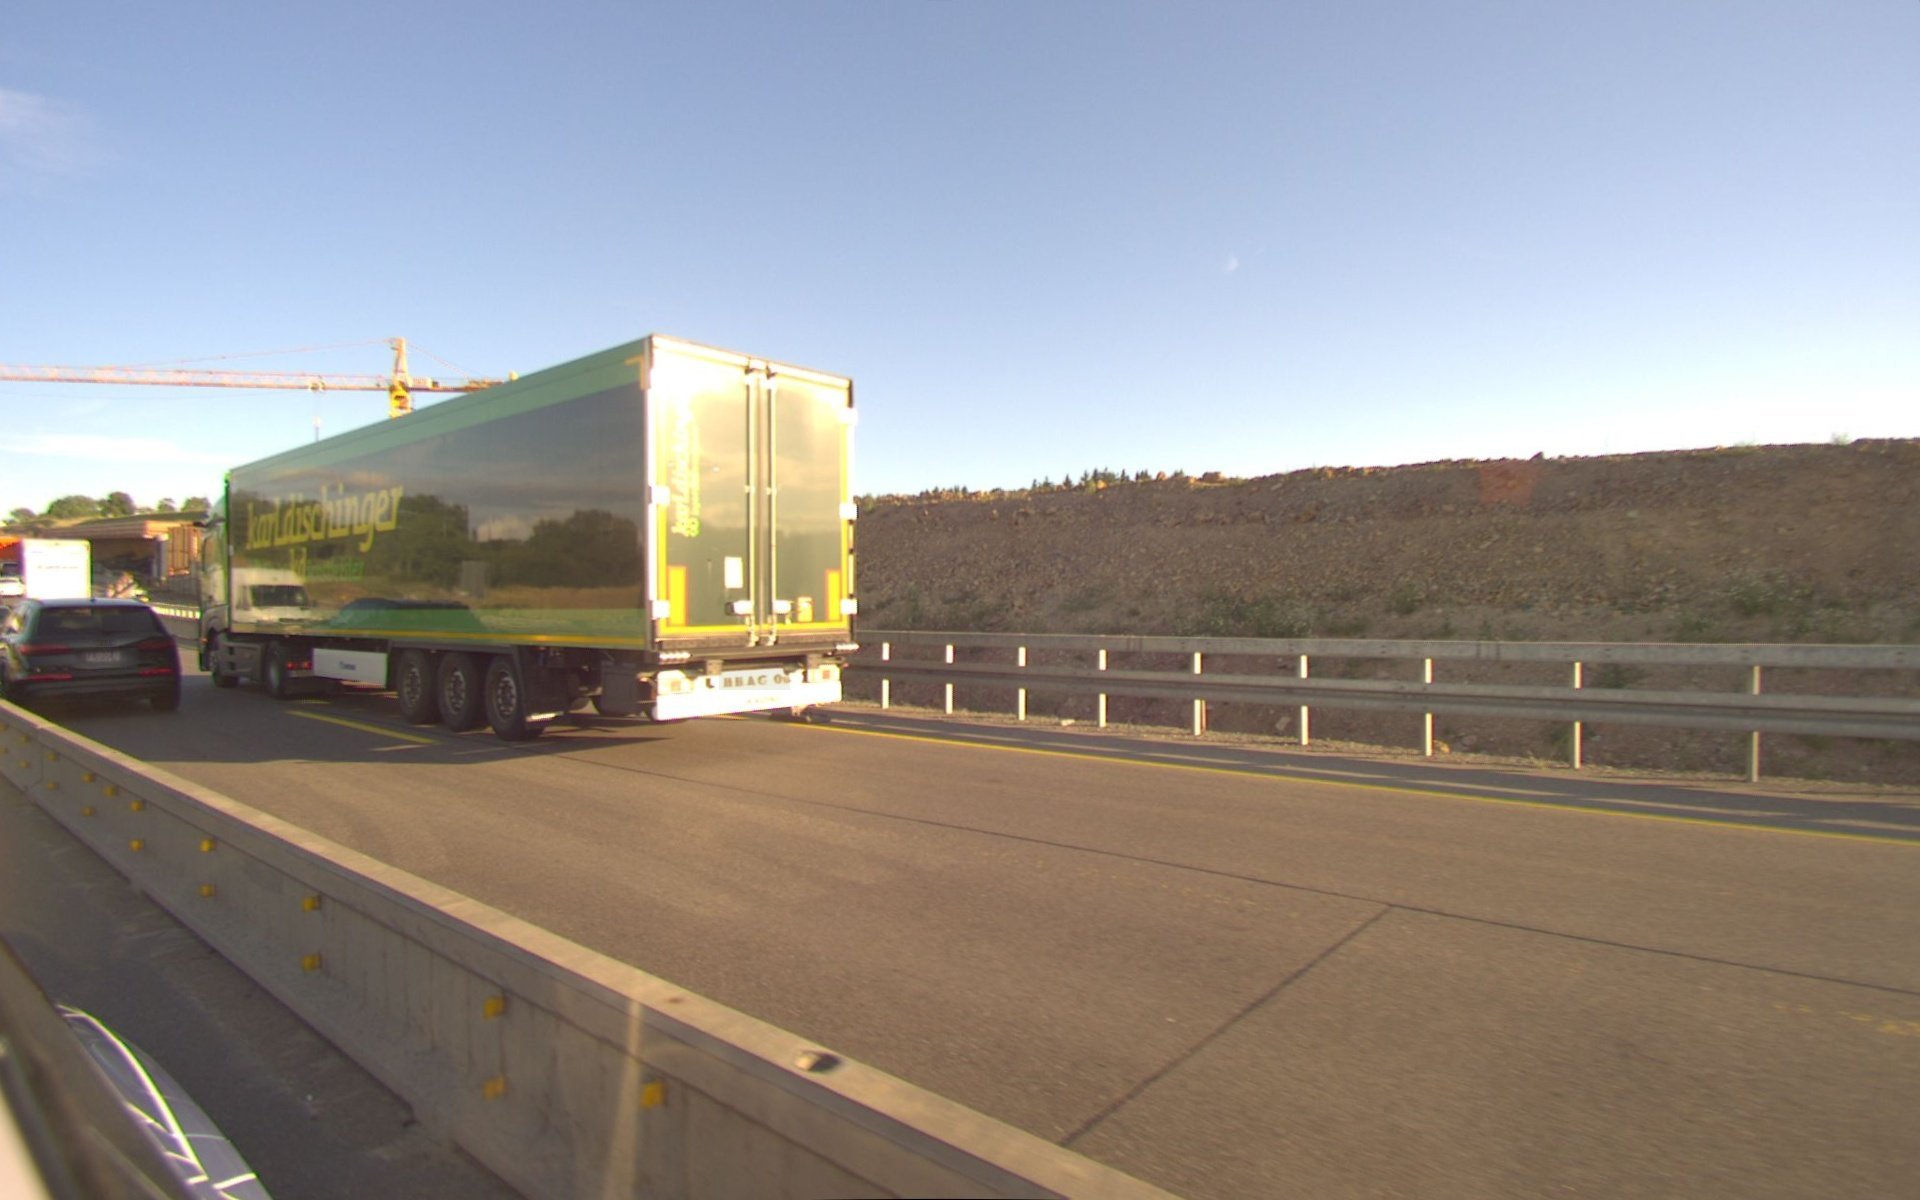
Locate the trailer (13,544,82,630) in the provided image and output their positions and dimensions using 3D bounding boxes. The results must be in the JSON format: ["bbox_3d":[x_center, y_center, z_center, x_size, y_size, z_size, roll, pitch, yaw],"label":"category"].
[{"bbox_3d":[-50.589,-0.792,55.955,2.501,4.245,13.948,-2,2,-43],"label":"trailer"}]

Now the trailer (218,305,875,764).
[{"bbox_3d":[-7.011,-0.492,14.459,13.673,4.062,2.745,-1,-1,41],"label":"trailer"}]

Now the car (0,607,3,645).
[{"bbox_3d":[-37.923,0.955,38.482,4.493,1.420,1.817,0,0,41],"label":"car"}]

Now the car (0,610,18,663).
[{"bbox_3d":[-28.682,1.048,29.378,4.328,1.420,1.697,0,0,43],"label":"car"}]

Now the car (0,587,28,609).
[{"bbox_3d":[-70.287,-0.171,74.966,1.768,1.499,4.223,0,1,-44],"label":"car"}]

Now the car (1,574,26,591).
[{"bbox_3d":[-100.427,-1.890,107.437,1.767,1.631,4.881,-1,3,-41],"label":"car"}]

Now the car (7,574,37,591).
[{"bbox_3d":[-84.116,-1.595,90.794,1.767,1.367,4.642,-1,3,-41],"label":"car"}]

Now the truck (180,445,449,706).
[{"bbox_3d":[-12.172,-0.354,18.898,5.773,4.112,2.741,-1,-1,41],"label":"truck"}]

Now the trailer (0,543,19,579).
[{"bbox_3d":[-126.568,-5.244,133.774,14.145,4.504,2.555,3,3,45],"label":"trailer"}]

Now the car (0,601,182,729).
[{"bbox_3d":[-13.393,0.833,15.204,4.493,1.621,1.892,0,0,41],"label":"car"}]
